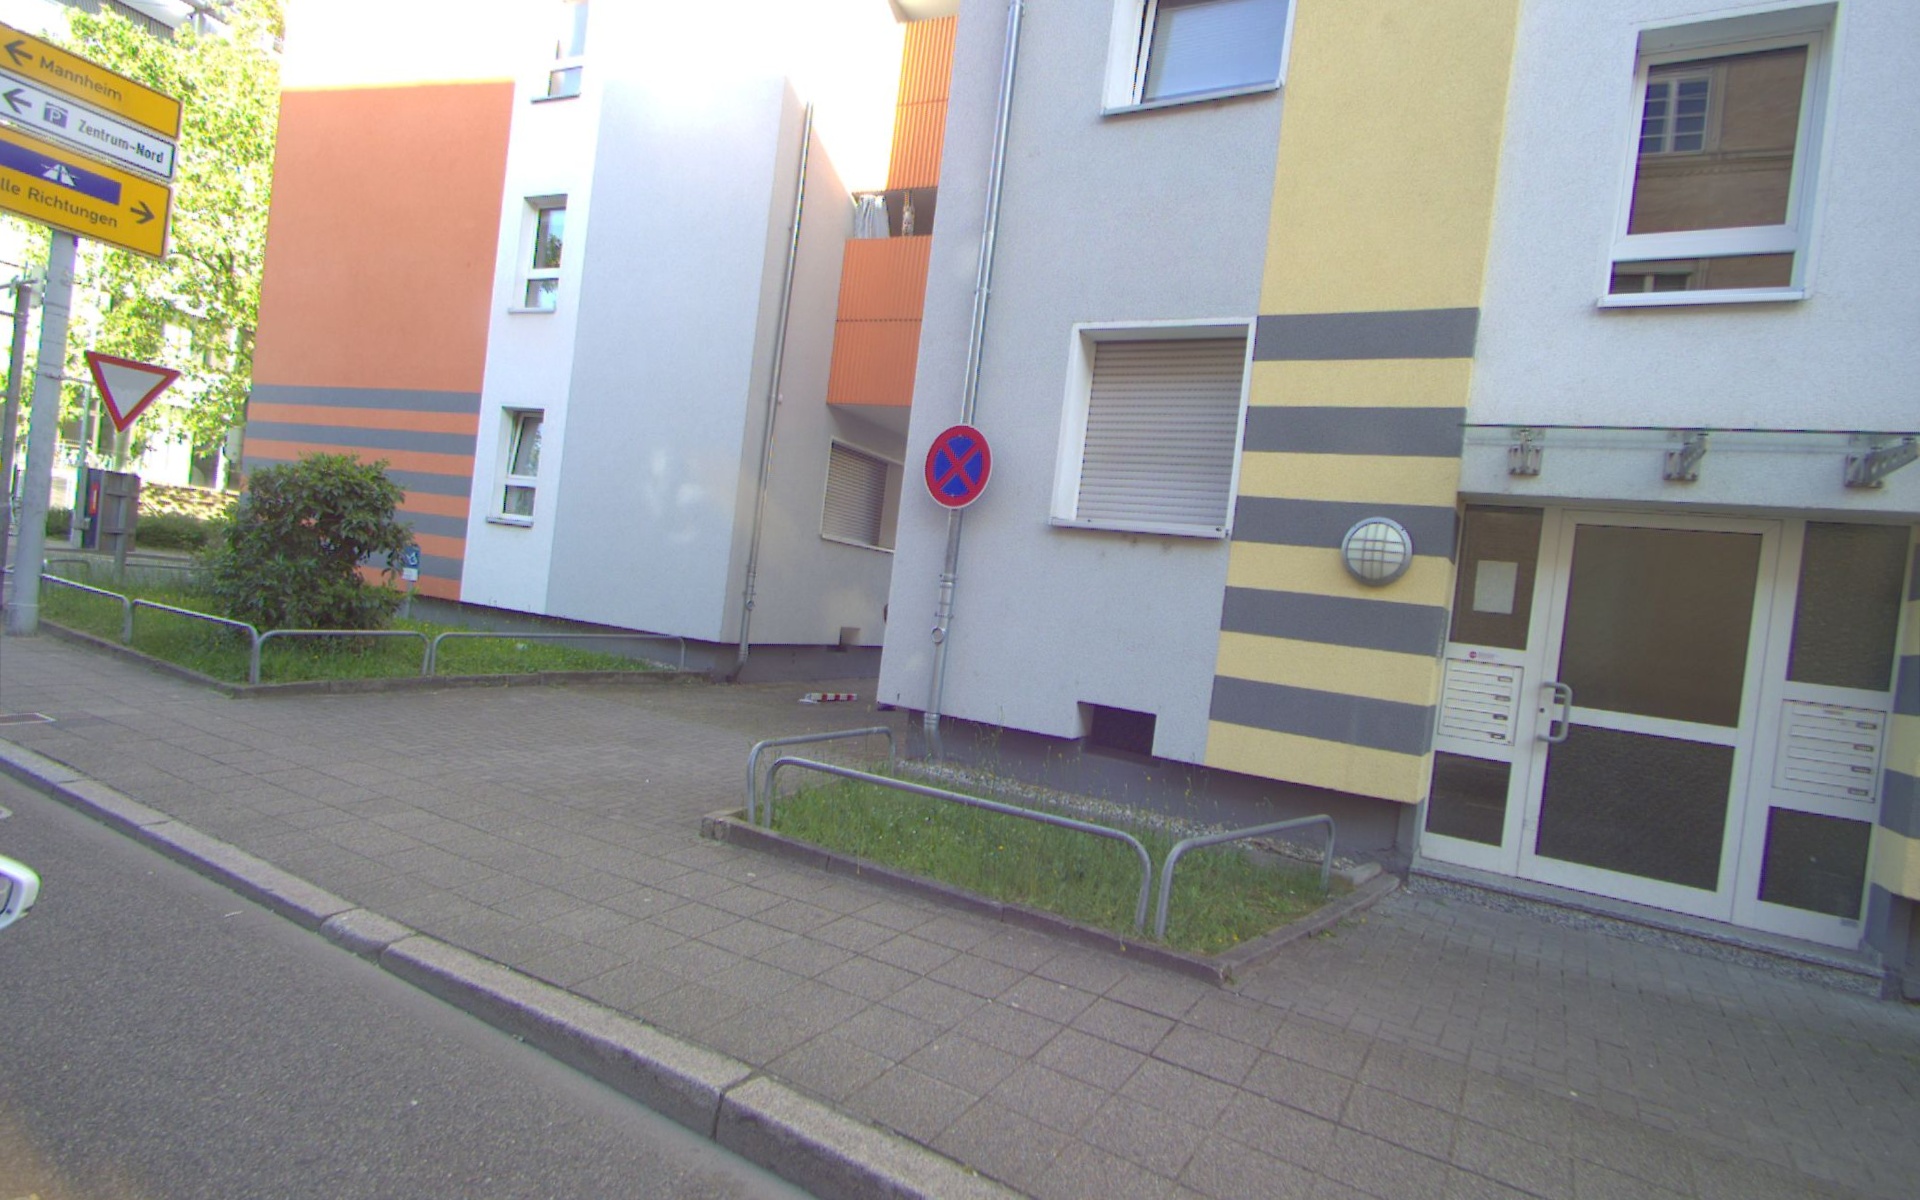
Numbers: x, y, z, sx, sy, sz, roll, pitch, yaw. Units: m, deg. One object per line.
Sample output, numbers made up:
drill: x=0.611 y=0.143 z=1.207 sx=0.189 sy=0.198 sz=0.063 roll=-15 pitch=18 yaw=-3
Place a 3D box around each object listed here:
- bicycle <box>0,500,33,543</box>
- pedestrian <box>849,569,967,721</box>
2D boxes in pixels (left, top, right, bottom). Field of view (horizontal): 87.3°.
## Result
bicycle: x=-26.415 y=-2.216 z=27.260 sx=1.883 sy=1.062 sz=0.463 roll=7 pitch=1 yaw=-10
pedestrian: x=-0.597 y=0.510 z=11.588 sx=0.941 sy=1.593 sz=0.748 roll=7 pitch=2 yaw=32
